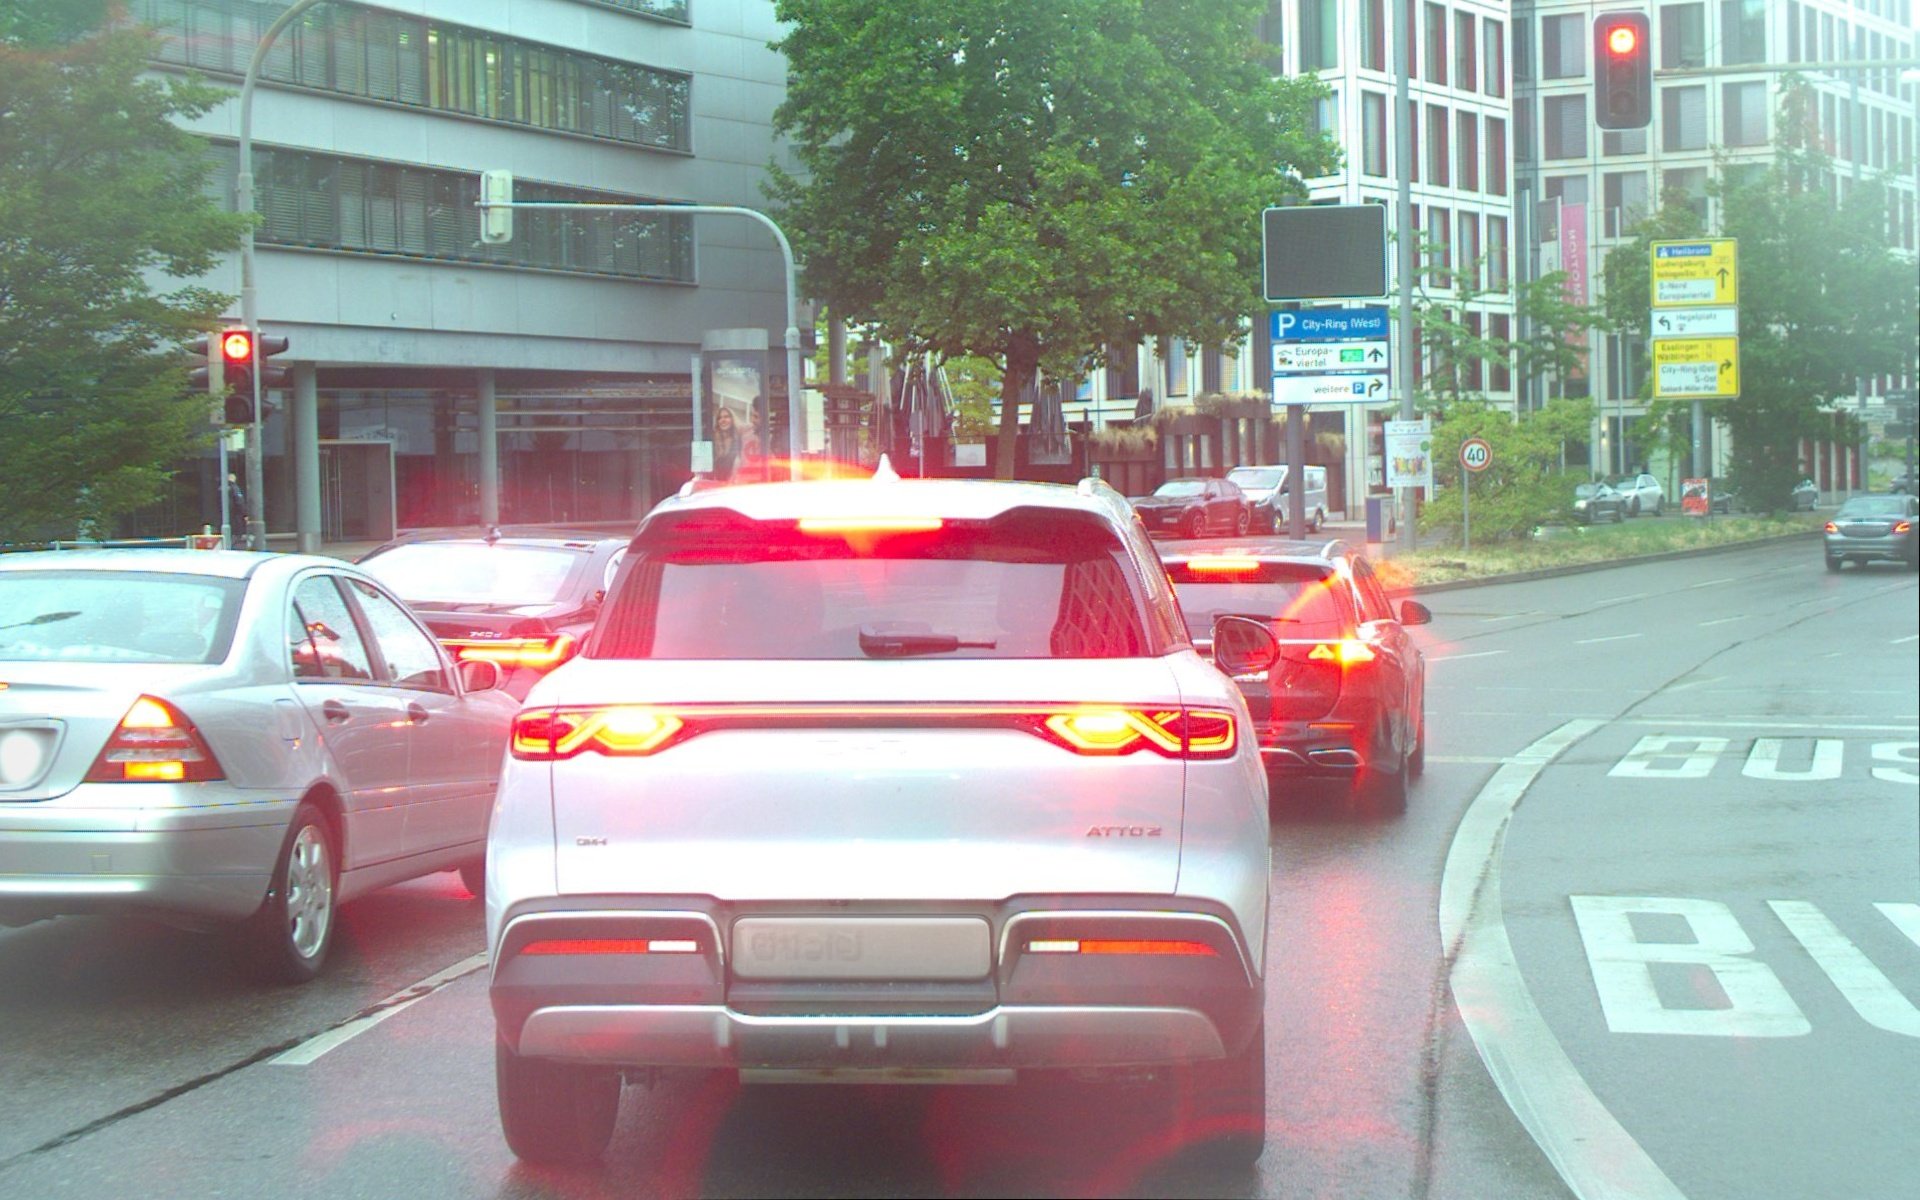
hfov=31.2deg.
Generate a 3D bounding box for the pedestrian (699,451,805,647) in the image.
[{"bbox_3d":[-1.868,-0.461,30.862,0.921,1.732,0.730,0,1,-4],"label":"pedestrian"}]

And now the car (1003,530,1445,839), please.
[{"bbox_3d":[1.596,0.378,19.336,1.956,1.525,3.998,0,1,12],"label":"car"}]

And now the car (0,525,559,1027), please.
[{"bbox_3d":[-2.856,0.485,12.527,1.683,1.481,4.195,0,2,9],"label":"car"}]

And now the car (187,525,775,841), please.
[{"bbox_3d":[-2.489,0.358,18.939,1.956,1.525,3.998,0,1,12],"label":"car"}]

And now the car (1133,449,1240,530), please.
[{"bbox_3d":[6.205,-2.986,93.757,1.739,2.154,4.489,1,1,19],"label":"car"}]

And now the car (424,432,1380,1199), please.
[{"bbox_3d":[-0.210,0.446,9.441,1.993,1.703,4.483,0,2,-2],"label":"car"}]

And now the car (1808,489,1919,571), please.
[{"bbox_3d":[17.833,-1.363,66.547,1.912,1.505,4.351,2,2,25],"label":"car"}]

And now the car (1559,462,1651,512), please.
[{"bbox_3d":[22.994,-4.036,122.441,1.997,1.700,4.303,1,4,28],"label":"car"}]

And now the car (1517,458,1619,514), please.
[{"bbox_3d":[19.721,-3.717,111.367,1.997,1.700,3.994,1,4,30],"label":"car"}]
